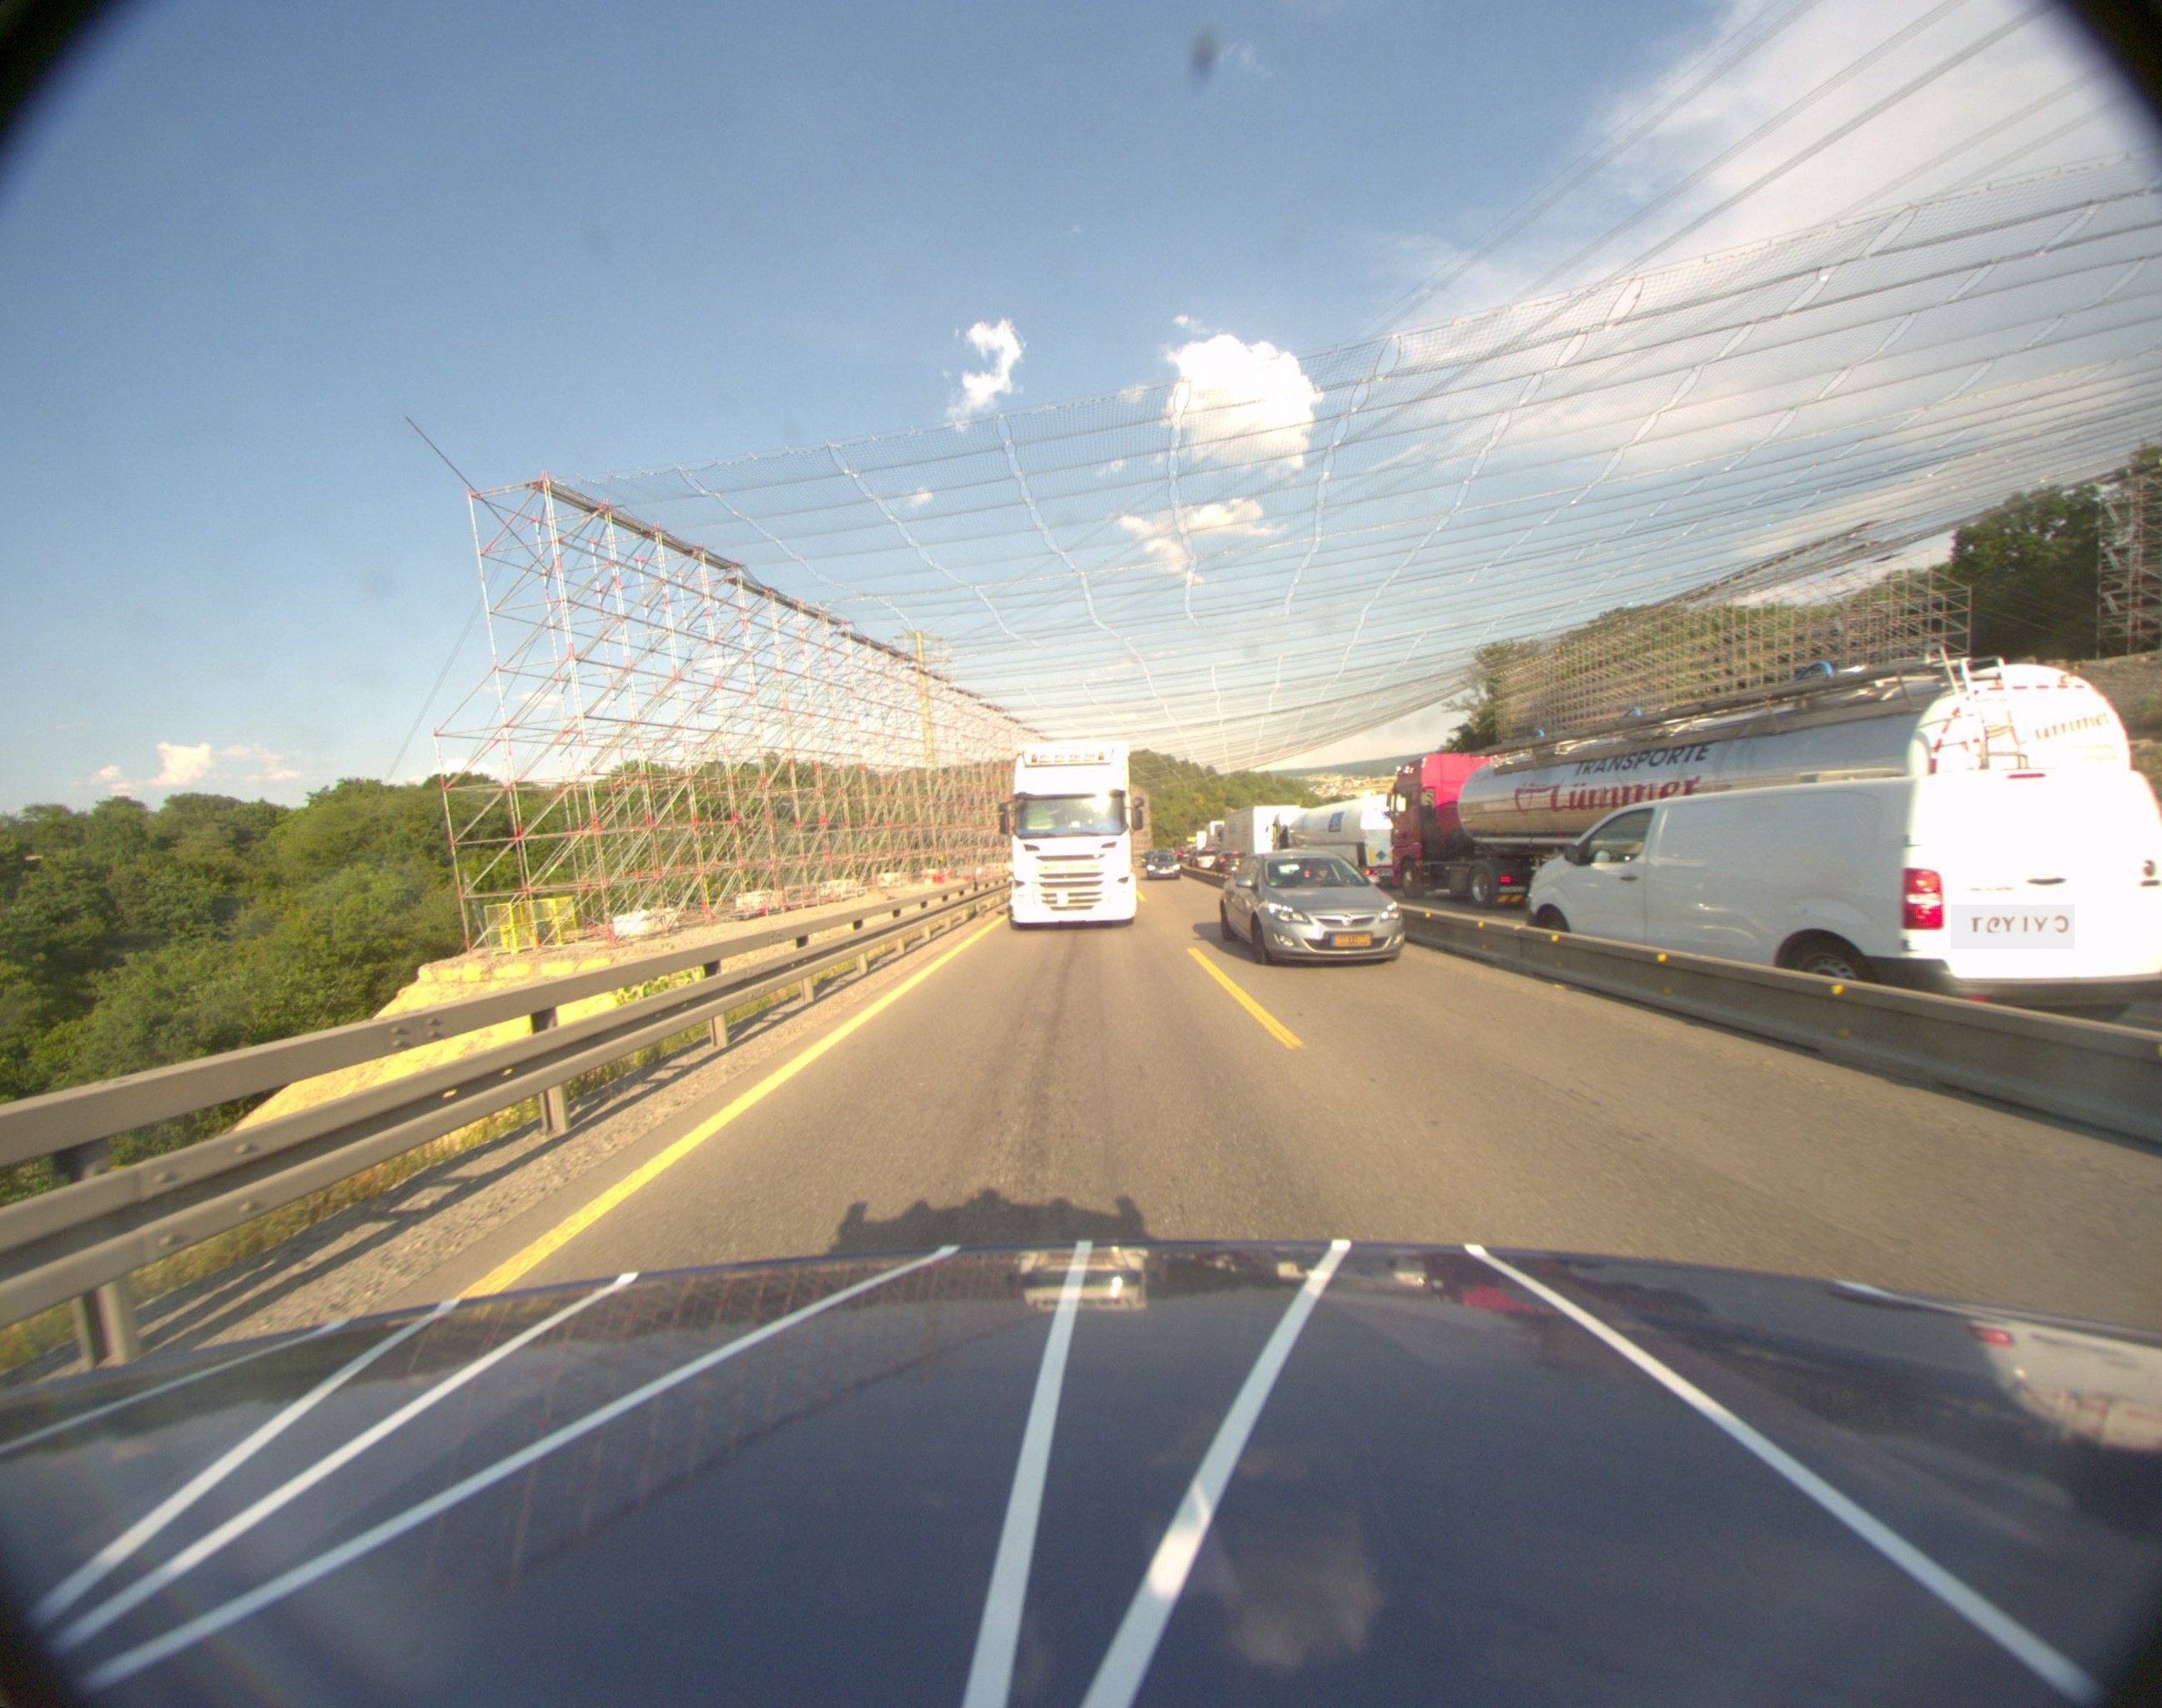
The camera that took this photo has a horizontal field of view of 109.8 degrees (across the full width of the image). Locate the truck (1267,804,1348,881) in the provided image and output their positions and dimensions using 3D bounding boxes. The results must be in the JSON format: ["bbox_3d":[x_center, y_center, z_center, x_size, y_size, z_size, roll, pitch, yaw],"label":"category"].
[{"bbox_3d":[10.733,-0.558,36.540,2.419,3.351,5.618,-2,1,3],"label":"truck"}]

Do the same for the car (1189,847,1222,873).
[{"bbox_3d":[8.170,0.344,50.017,1.754,1.577,3.943,-2,1,4],"label":"car"}]

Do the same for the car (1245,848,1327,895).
[{"bbox_3d":[6.992,0.544,26.407,1.631,1.418,4.657,-2,1,1],"label":"car"}]

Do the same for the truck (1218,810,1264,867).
[{"bbox_3d":[11.975,-1.147,57.360,2.479,4.022,5.618,-2,1,3],"label":"truck"}]

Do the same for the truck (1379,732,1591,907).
[{"bbox_3d":[9.944,-0.792,19.425,2.438,3.763,5.616,-2,1,1],"label":"truck"}]

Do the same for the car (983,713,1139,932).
[{"bbox_3d":[-0.273,-0.649,18.680,2.858,4.092,8.280,-2,1,2],"label":"car"}]

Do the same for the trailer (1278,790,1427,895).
[{"bbox_3d":[10.383,-0.451,30.710,2.312,3.342,12.053,-2,1,3],"label":"trailer"}]

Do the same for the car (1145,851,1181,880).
[{"bbox_3d":[4.342,0.581,40.708,1.764,1.376,3.823,-2,1,4],"label":"car"}]

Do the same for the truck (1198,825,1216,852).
[{"bbox_3d":[21.180,-2.587,127.709,2.726,4.203,14.175,-2,1,9],"label":"truck"}]

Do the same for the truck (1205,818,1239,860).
[{"bbox_3d":[13.982,-1.469,75.845,2.636,3.887,7.206,-2,1,6],"label":"truck"}]

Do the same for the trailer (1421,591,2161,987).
[{"bbox_3d":[9.809,-0.708,13.365,2.313,3.768,12.050,-2,1,1],"label":"trailer"}]

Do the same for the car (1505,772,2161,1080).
[{"bbox_3d":[6.336,0.421,7.246,1.821,1.914,4.835,-2,1,-1],"label":"car"}]

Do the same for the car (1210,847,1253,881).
[{"bbox_3d":[7.419,0.447,37.676,1.510,1.520,3.587,-2,1,2],"label":"car"}]

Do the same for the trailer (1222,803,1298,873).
[{"bbox_3d":[11.527,-1.038,50.433,2.433,3.940,14.099,-2,1,3],"label":"trailer"}]

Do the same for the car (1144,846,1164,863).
[{"bbox_3d":[6.446,0.027,67.141,1.675,1.376,3.823,-2,1,5],"label":"car"}]

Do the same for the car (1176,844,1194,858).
[{"bbox_3d":[11.033,-0.326,80.775,1.611,1.368,3.901,-2,1,4],"label":"car"}]

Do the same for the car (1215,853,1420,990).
[{"bbox_3d":[3.089,0.770,10.870,1.759,1.464,4.353,-2,1,3],"label":"car"}]

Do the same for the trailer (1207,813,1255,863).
[{"bbox_3d":[13.543,-1.436,69.567,2.675,3.992,13.335,-2,1,4],"label":"trailer"}]
